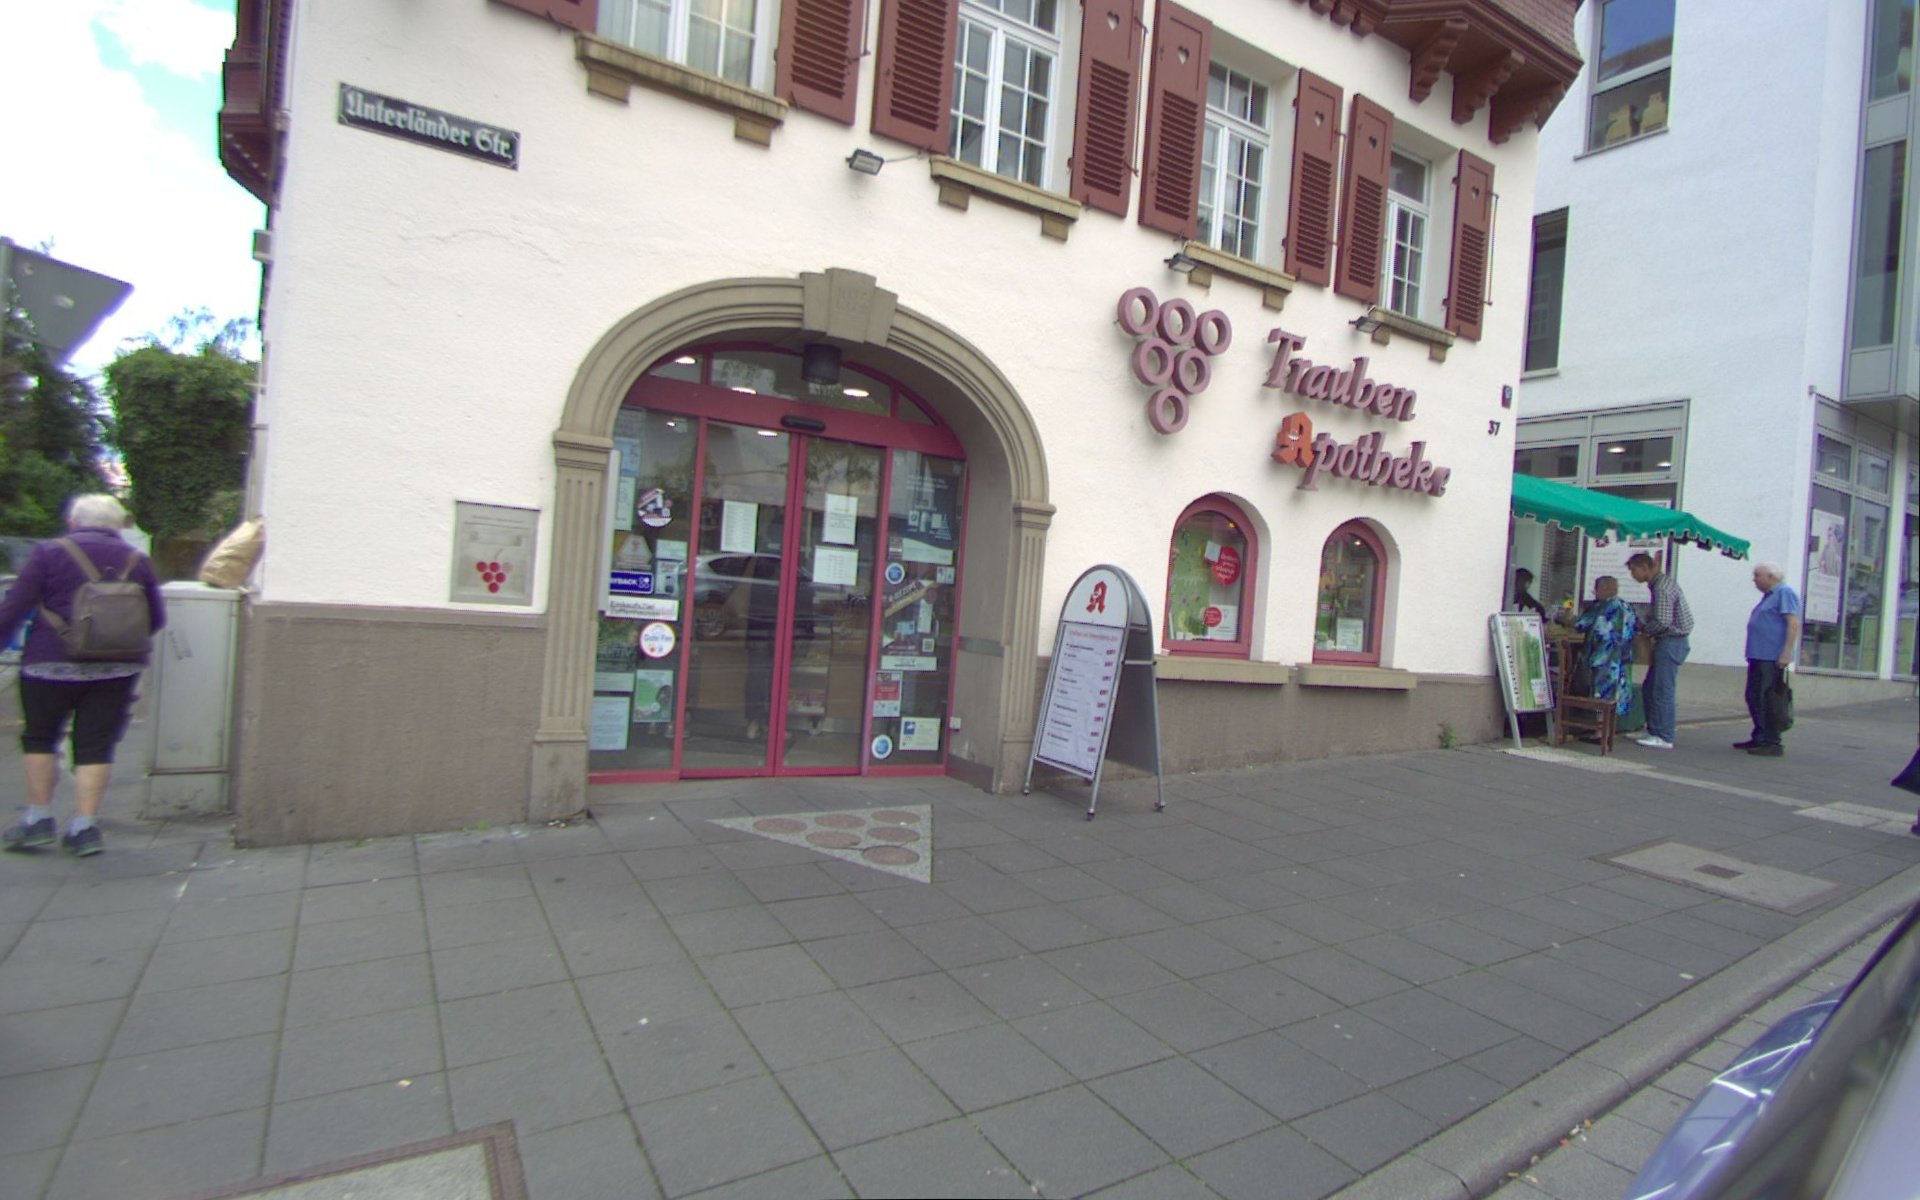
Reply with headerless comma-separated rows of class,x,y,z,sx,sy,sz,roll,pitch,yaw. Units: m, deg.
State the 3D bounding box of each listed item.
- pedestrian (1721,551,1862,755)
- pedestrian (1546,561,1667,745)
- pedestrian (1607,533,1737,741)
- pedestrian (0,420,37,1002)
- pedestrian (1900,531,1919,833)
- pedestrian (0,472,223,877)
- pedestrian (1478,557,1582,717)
pedestrian,7.603,0.459,9.282,0.613,1.788,0.703,1,1,-5
pedestrian,6.039,0.469,9.467,0.688,1.632,0.627,1,1,-26
pedestrian,6.793,0.326,9.700,0.692,1.880,0.778,2,1,12
pedestrian,-3.056,0.326,2.565,0.852,1.665,0.776,1,1,-25
pedestrian,6.263,0.507,6.180,0.775,1.823,0.674,0,2,-44
pedestrian,-3.656,0.261,4.241,0.791,1.549,0.728,1,4,-25
pedestrian,6.045,0.369,10.751,0.688,1.632,0.627,1,1,-26
